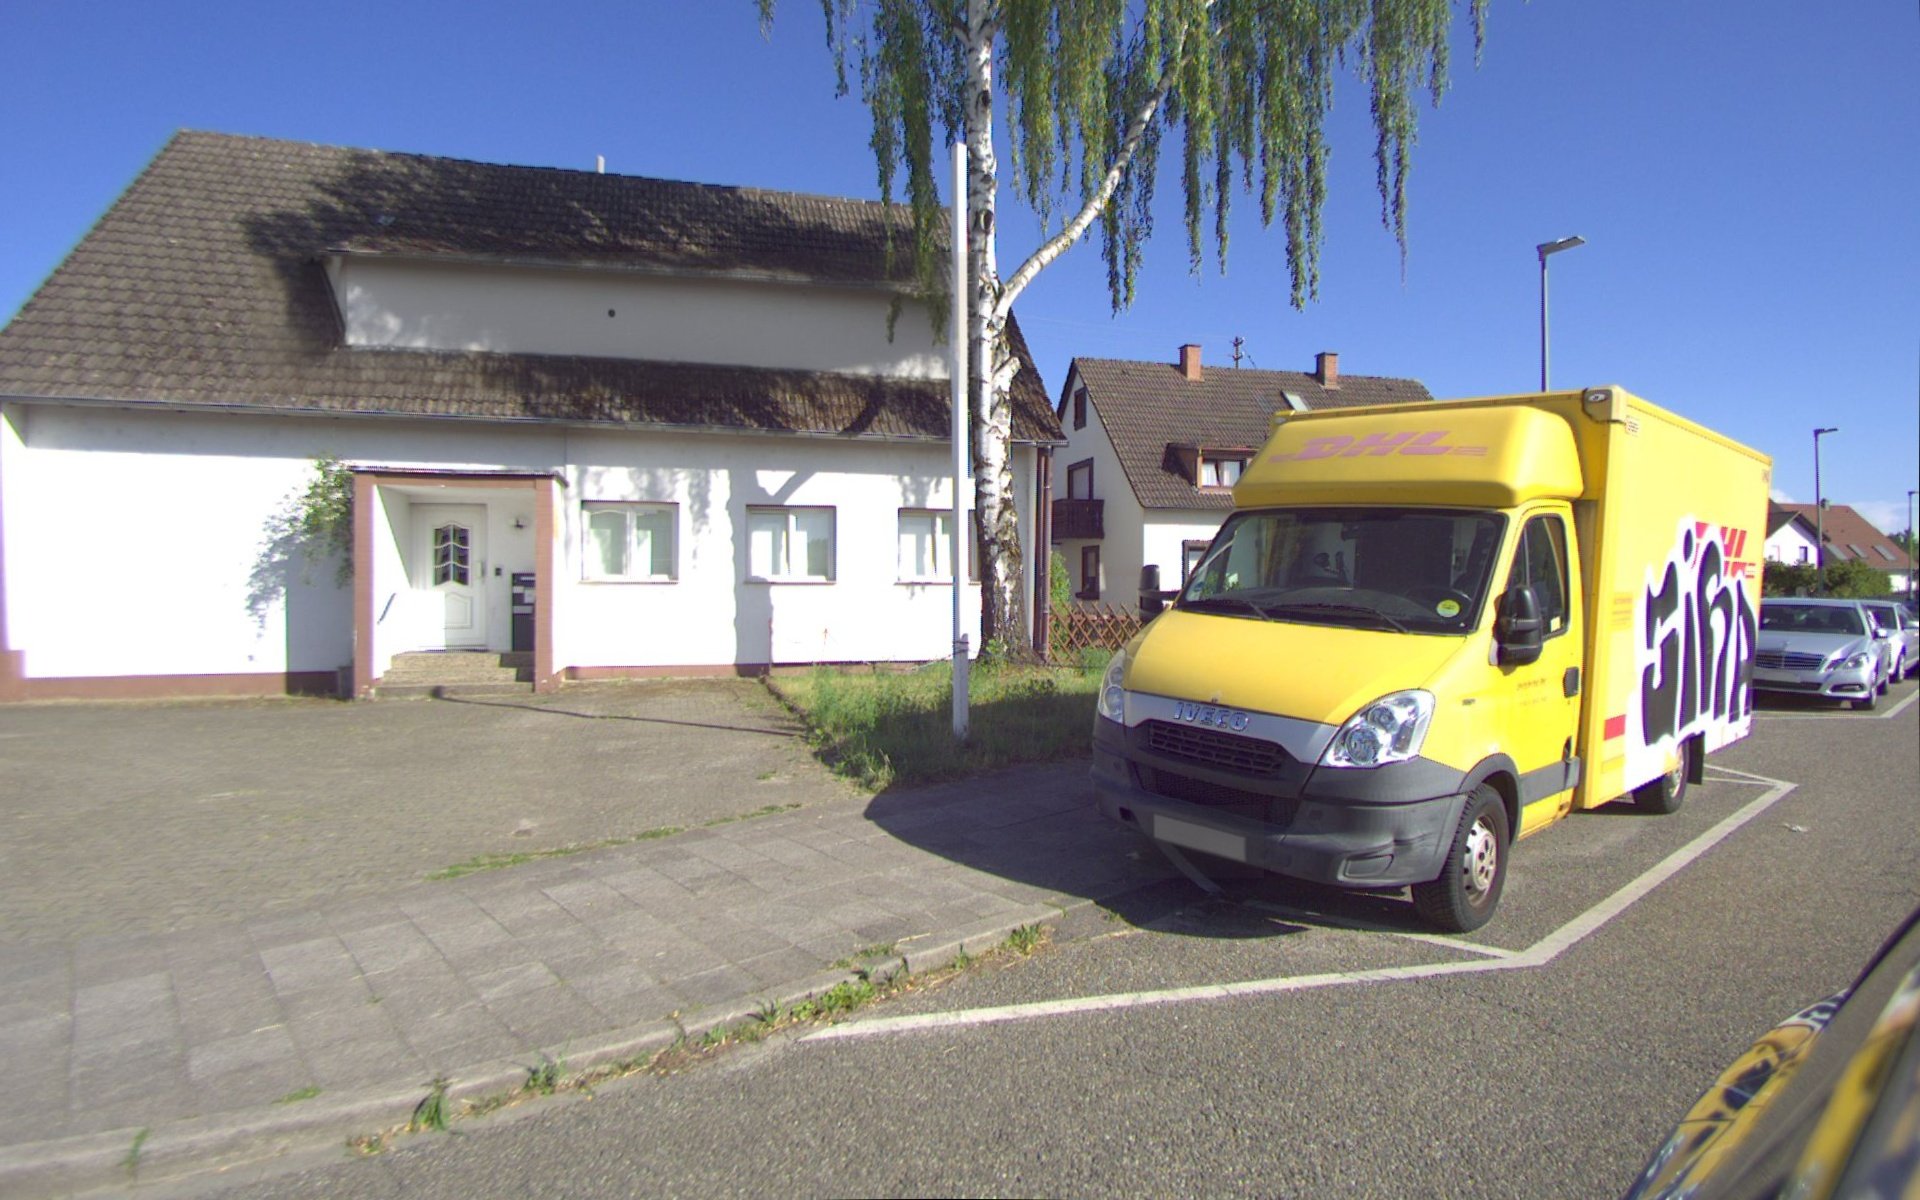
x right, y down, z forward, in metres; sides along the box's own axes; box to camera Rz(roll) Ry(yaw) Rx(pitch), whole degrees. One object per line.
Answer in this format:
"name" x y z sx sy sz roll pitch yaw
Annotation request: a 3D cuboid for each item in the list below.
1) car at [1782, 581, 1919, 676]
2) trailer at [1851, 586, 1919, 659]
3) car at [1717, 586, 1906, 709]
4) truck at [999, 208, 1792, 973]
"car" 16.777 0.470 18.646 3.969 1.562 1.678 0 0 -38
"trailer" 21.394 0.470 22.749 3.142 1.557 1.630 0 0 -41
"car" 12.763 0.593 15.068 1.784 1.561 4.464 0 0 45
"truck" 3.606 -0.112 7.144 6.895 2.972 2.407 -1 3 -42
